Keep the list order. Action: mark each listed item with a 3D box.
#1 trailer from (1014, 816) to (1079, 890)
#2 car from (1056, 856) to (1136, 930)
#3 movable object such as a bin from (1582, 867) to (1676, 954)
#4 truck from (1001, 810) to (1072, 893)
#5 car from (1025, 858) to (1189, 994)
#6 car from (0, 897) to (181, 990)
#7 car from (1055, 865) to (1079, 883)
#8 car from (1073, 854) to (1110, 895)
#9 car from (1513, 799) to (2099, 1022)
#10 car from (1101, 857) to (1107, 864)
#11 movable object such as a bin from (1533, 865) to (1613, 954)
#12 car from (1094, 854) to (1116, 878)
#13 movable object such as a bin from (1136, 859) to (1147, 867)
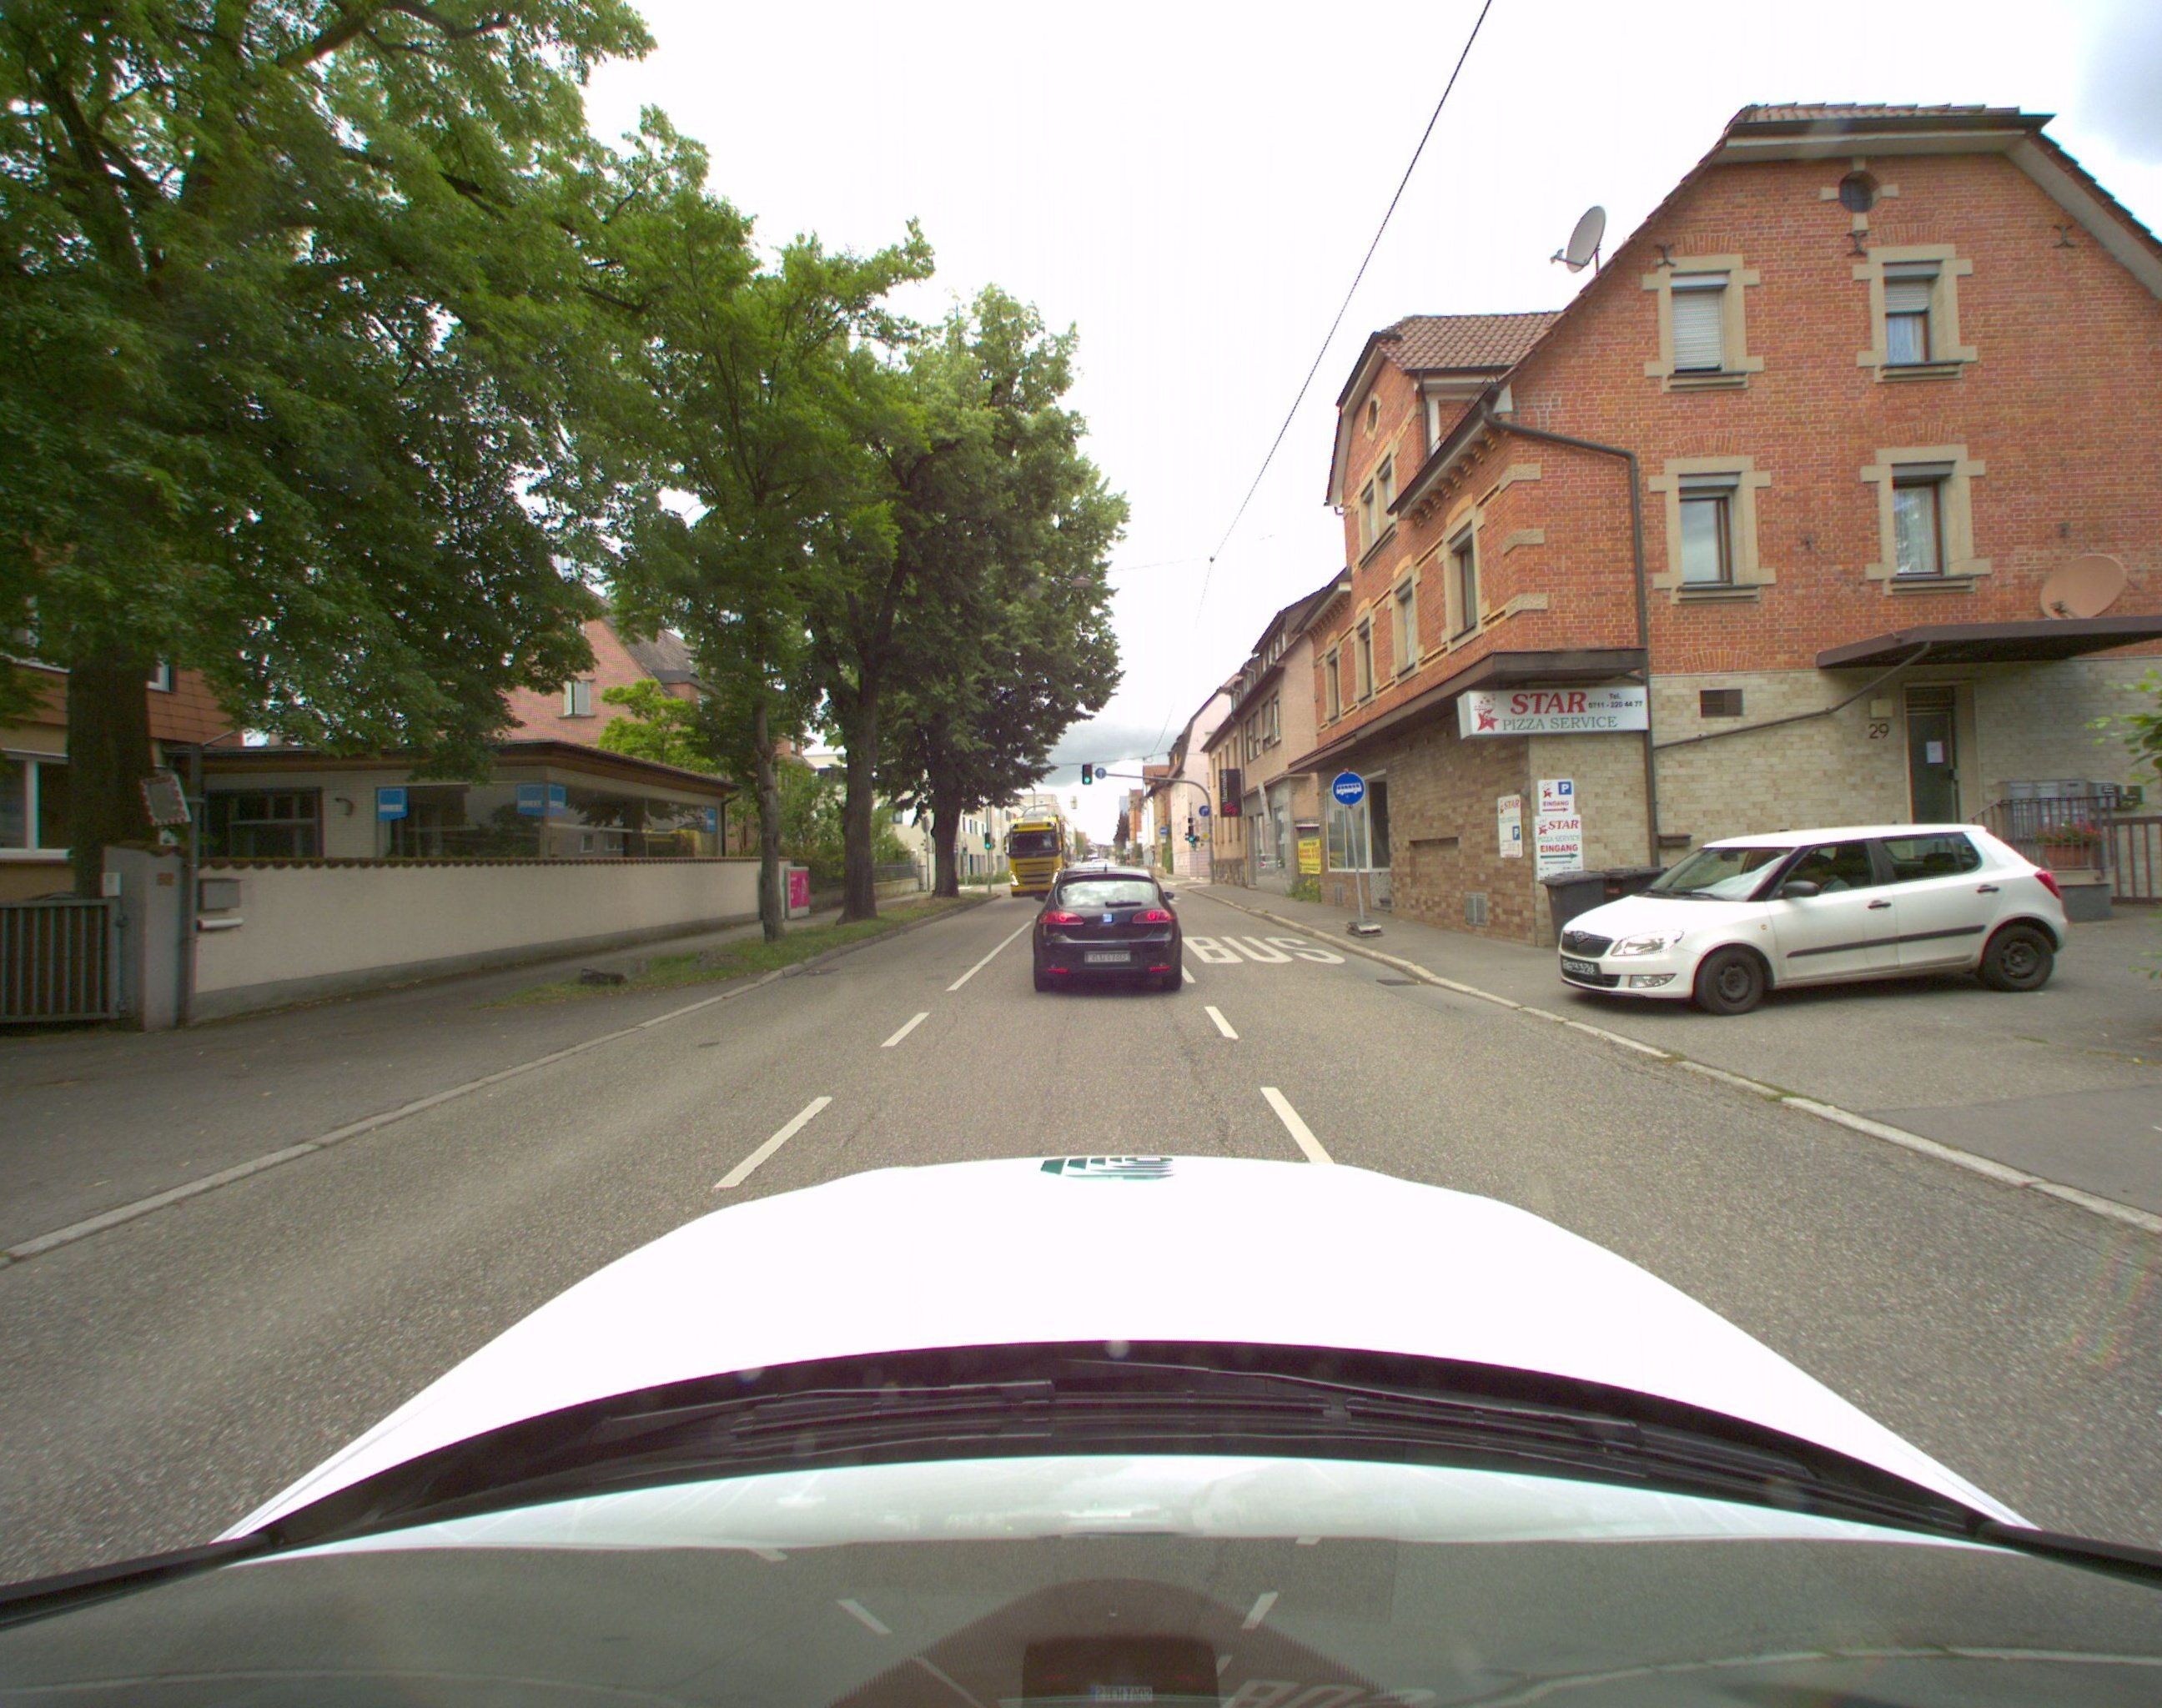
[{"bbox_3d":[-1.832,0.060,49.823,2.847,3.808,14.395,-1,-1,2],"label":"trailer"},{"bbox_3d":[0.383,0.935,20.812,1.836,1.693,4.000,-1,-1,1],"label":"car"},{"bbox_3d":[7.203,0.727,10.742,0.696,1.059,0.724,-4,-1,1],"label":"movable object such as a bin"},{"bbox_3d":[-2.091,-0.055,41.258,2.833,3.782,7.672,-1,-1,2],"label":"truck"},{"bbox_3d":[0.336,0.813,10.788,1.752,1.442,4.001,-1,-1,1],"label":"car"},{"bbox_3d":[-17.235,1.440,13.264,1.336,1.330,3.398,-1,-1,1],"label":"car"},{"bbox_3d":[-1.229,1.750,71.795,1.760,1.470,4.228,-5,-1,2],"label":"car"},{"bbox_3d":[0.495,0.884,36.260,1.526,1.693,3.693,-1,-1,1],"label":"car"},{"bbox_3d":[6.544,0.479,7.663,4.017,1.470,1.600,-6,-1,-1],"label":"car"},{"bbox_3d":[6.560,1.836,229.124,1.526,1.693,3.694,-2,0,1],"label":"car"},{"bbox_3d":[6.448,0.708,10.700,0.604,1.101,0.623,-4,-1,1],"label":"movable object such as a bin"},{"bbox_3d":[1.738,0.894,59.067,1.526,1.693,3.693,-1,-1,1],"label":"car"},{"bbox_3d":[10.359,1.524,140.086,1.811,1.437,1.994,-1,-1,2],"label":"movable object such as a bin"}]
